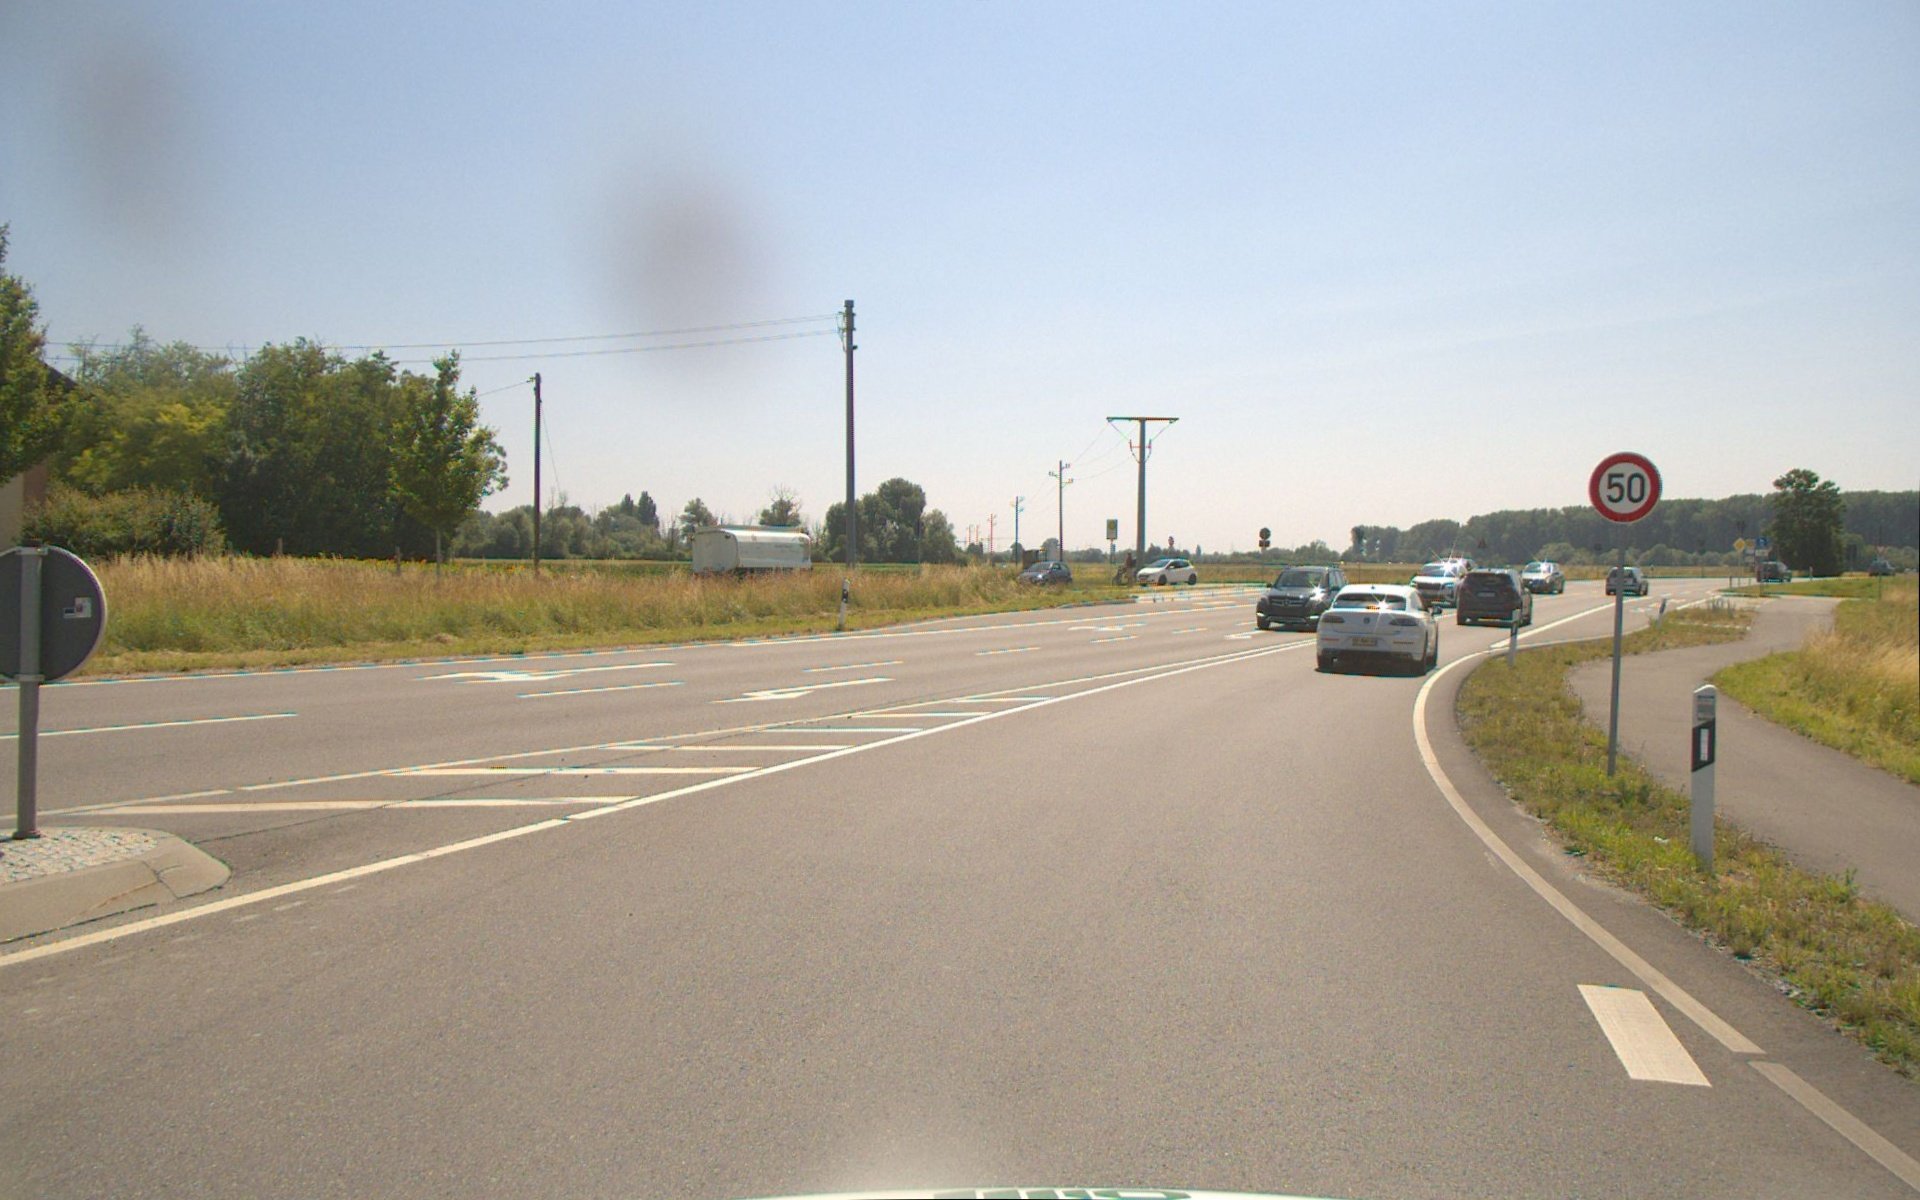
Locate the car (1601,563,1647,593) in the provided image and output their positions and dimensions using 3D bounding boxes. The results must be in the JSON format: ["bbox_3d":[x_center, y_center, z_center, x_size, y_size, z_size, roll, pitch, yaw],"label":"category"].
[{"bbox_3d":[34.833,-1.119,86.727,1.765,1.454,4.086,-1,-1,28],"label":"car"}]

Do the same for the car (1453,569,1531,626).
[{"bbox_3d":[16.315,-0.068,50.571,1.895,1.645,4.377,0,0,23],"label":"car"}]

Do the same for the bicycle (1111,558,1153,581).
[{"bbox_3d":[10.910,-1.941,105.093,2.552,1.396,0.903,0,-1,14],"label":"bicycle"}]

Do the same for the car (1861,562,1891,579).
[{"bbox_3d":[87.336,-2.784,157.649,1.772,1.548,3.862,-2,-1,40],"label":"car"}]

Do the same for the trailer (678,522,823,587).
[{"bbox_3d":[-8.442,-1.860,67.507,2.627,2.498,6.373,2,2,29],"label":"trailer"}]

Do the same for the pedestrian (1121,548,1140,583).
[{"bbox_3d":[8.937,-1.792,86.675,0.598,1.816,0.843,2,1,34],"label":"pedestrian"}]

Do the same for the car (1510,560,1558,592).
[{"bbox_3d":[29.877,-1.243,86.011,1.699,1.583,4.408,0,0,28],"label":"car"}]

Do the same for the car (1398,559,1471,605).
[{"bbox_3d":[18.869,-0.730,65.647,1.842,1.679,4.838,3,2,27],"label":"car"}]

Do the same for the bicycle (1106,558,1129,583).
[{"bbox_3d":[8.250,-1.539,86.646,0.482,1.269,1.506,2,1,33],"label":"bicycle"}]

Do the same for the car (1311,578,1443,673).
[{"bbox_3d":[7.386,0.397,28.980,1.809,1.458,4.610,2,1,19],"label":"car"}]

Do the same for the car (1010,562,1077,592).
[{"bbox_3d":[4.216,-1.174,83.223,1.645,1.411,3.827,3,3,34],"label":"car"}]

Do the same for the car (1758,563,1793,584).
[{"bbox_3d":[61.256,-1.973,124.172,1.769,1.502,4.400,0,0,34],"label":"car"}]

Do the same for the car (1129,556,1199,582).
[{"bbox_3d":[11.703,-1.754,94.890,3.997,1.355,1.673,1,2,-39],"label":"car"}]

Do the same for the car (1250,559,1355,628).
[{"bbox_3d":[9.145,-0.226,43.924,1.828,1.679,4.326,2,2,24],"label":"car"}]
